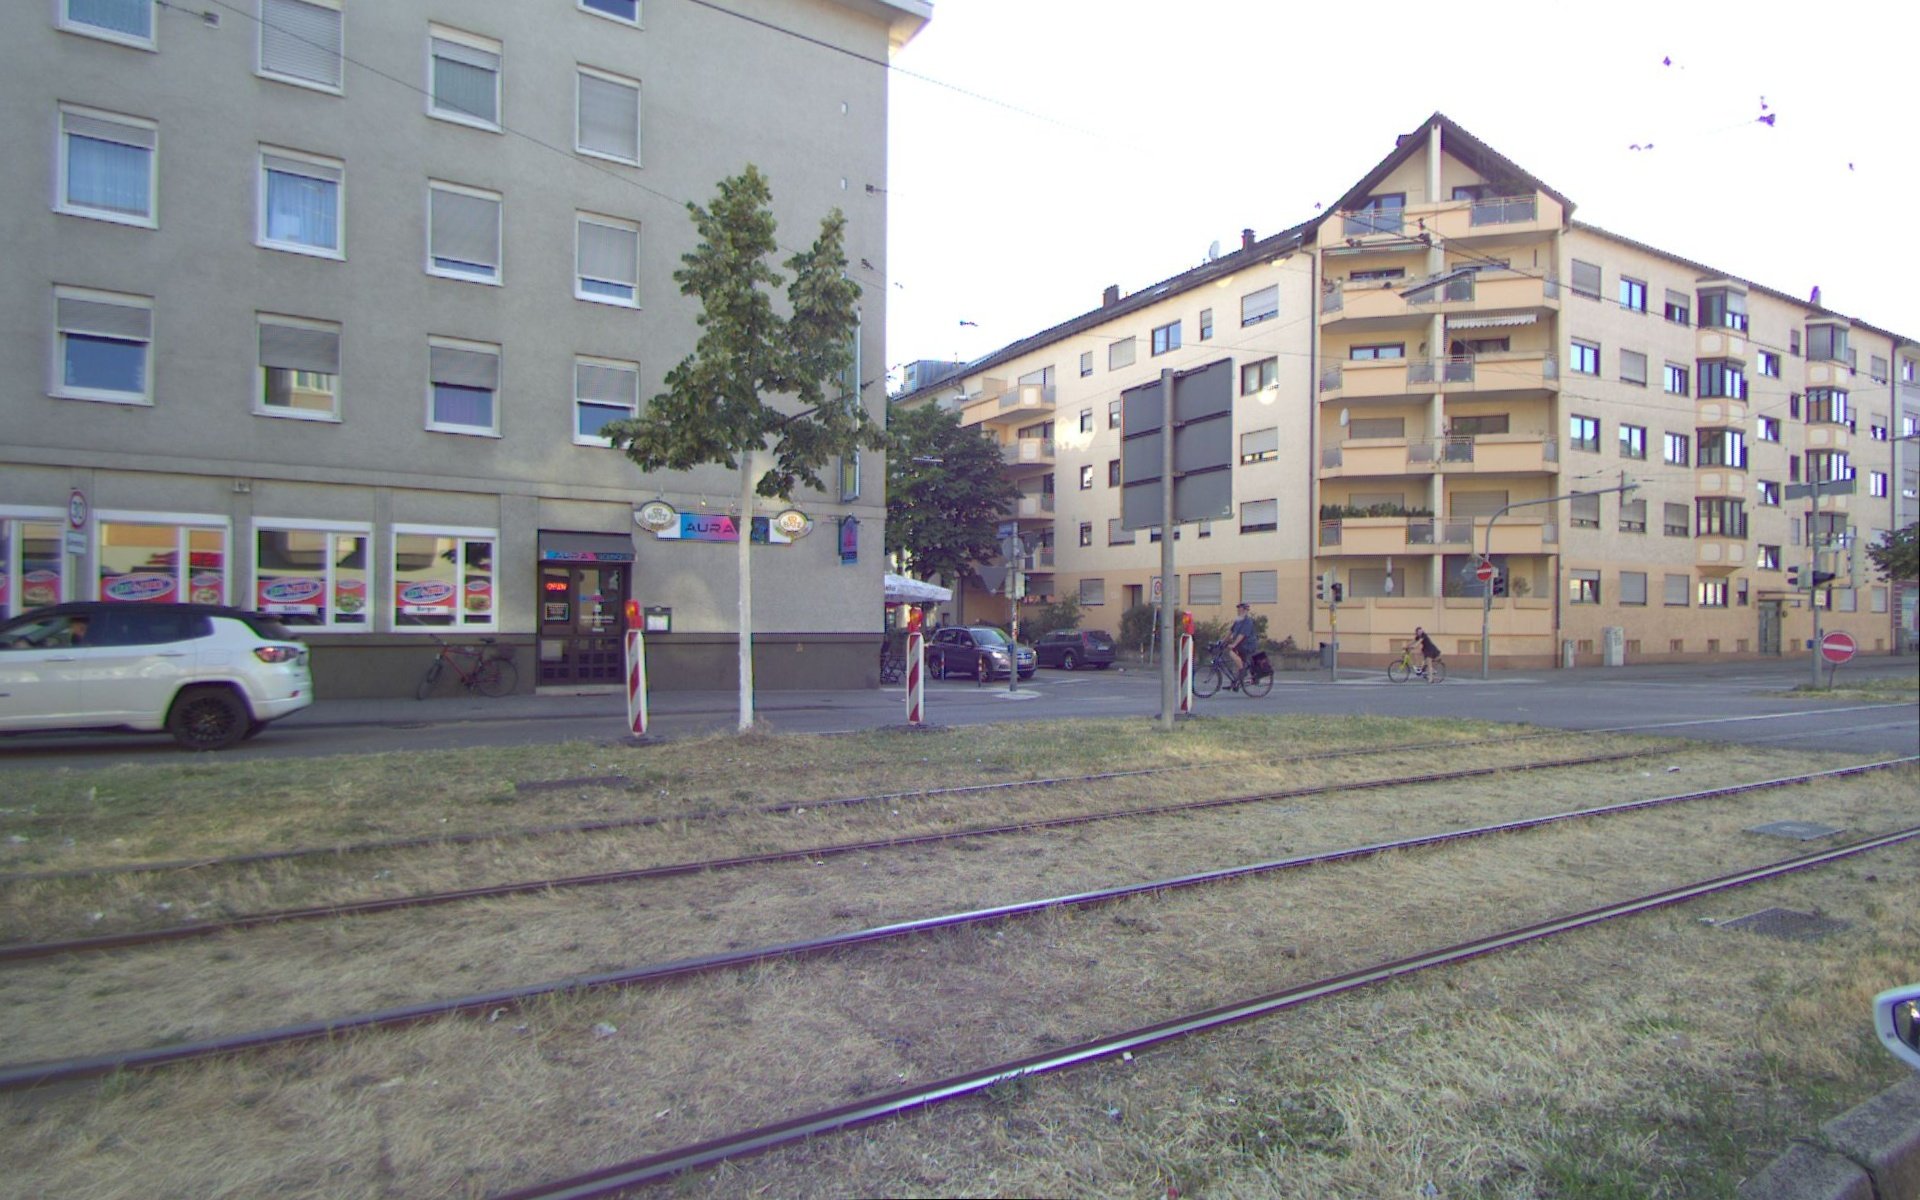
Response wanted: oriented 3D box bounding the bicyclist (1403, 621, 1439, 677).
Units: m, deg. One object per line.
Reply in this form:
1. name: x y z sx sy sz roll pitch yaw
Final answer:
1. bicyclist: 13.485 1.431 29.411 0.793 1.607 0.628 0 0 4

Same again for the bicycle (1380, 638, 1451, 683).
1. bicycle: 13.324 1.758 29.400 1.833 1.274 0.457 0 0 3

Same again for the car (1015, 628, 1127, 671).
1. car: 4.100 1.814 37.663 1.982 1.462 3.957 -1 0 -38

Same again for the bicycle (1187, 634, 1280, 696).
1. bicycle: 5.798 1.365 21.341 1.833 1.274 0.457 0 0 4

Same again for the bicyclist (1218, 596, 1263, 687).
1. bicyclist: 5.951 0.869 21.318 0.793 1.908 0.653 0 0 4

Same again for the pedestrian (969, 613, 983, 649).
1. pedestrian: 0.781 1.520 49.050 0.456 1.727 0.589 2 0 -24

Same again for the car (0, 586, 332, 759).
1. car: -9.740 0.777 11.319 4.339 1.757 1.985 1 -2 -29

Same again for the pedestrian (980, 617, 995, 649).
1. pedestrian: 1.329 1.613 49.329 0.509 1.573 0.547 2 0 -24

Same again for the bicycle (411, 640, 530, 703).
1. bicycle: -8.628 1.244 17.721 1.823 1.037 0.605 2 0 -31

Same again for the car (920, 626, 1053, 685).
1. car: 0.776 1.668 31.460 1.982 1.645 4.153 -1 0 -38
